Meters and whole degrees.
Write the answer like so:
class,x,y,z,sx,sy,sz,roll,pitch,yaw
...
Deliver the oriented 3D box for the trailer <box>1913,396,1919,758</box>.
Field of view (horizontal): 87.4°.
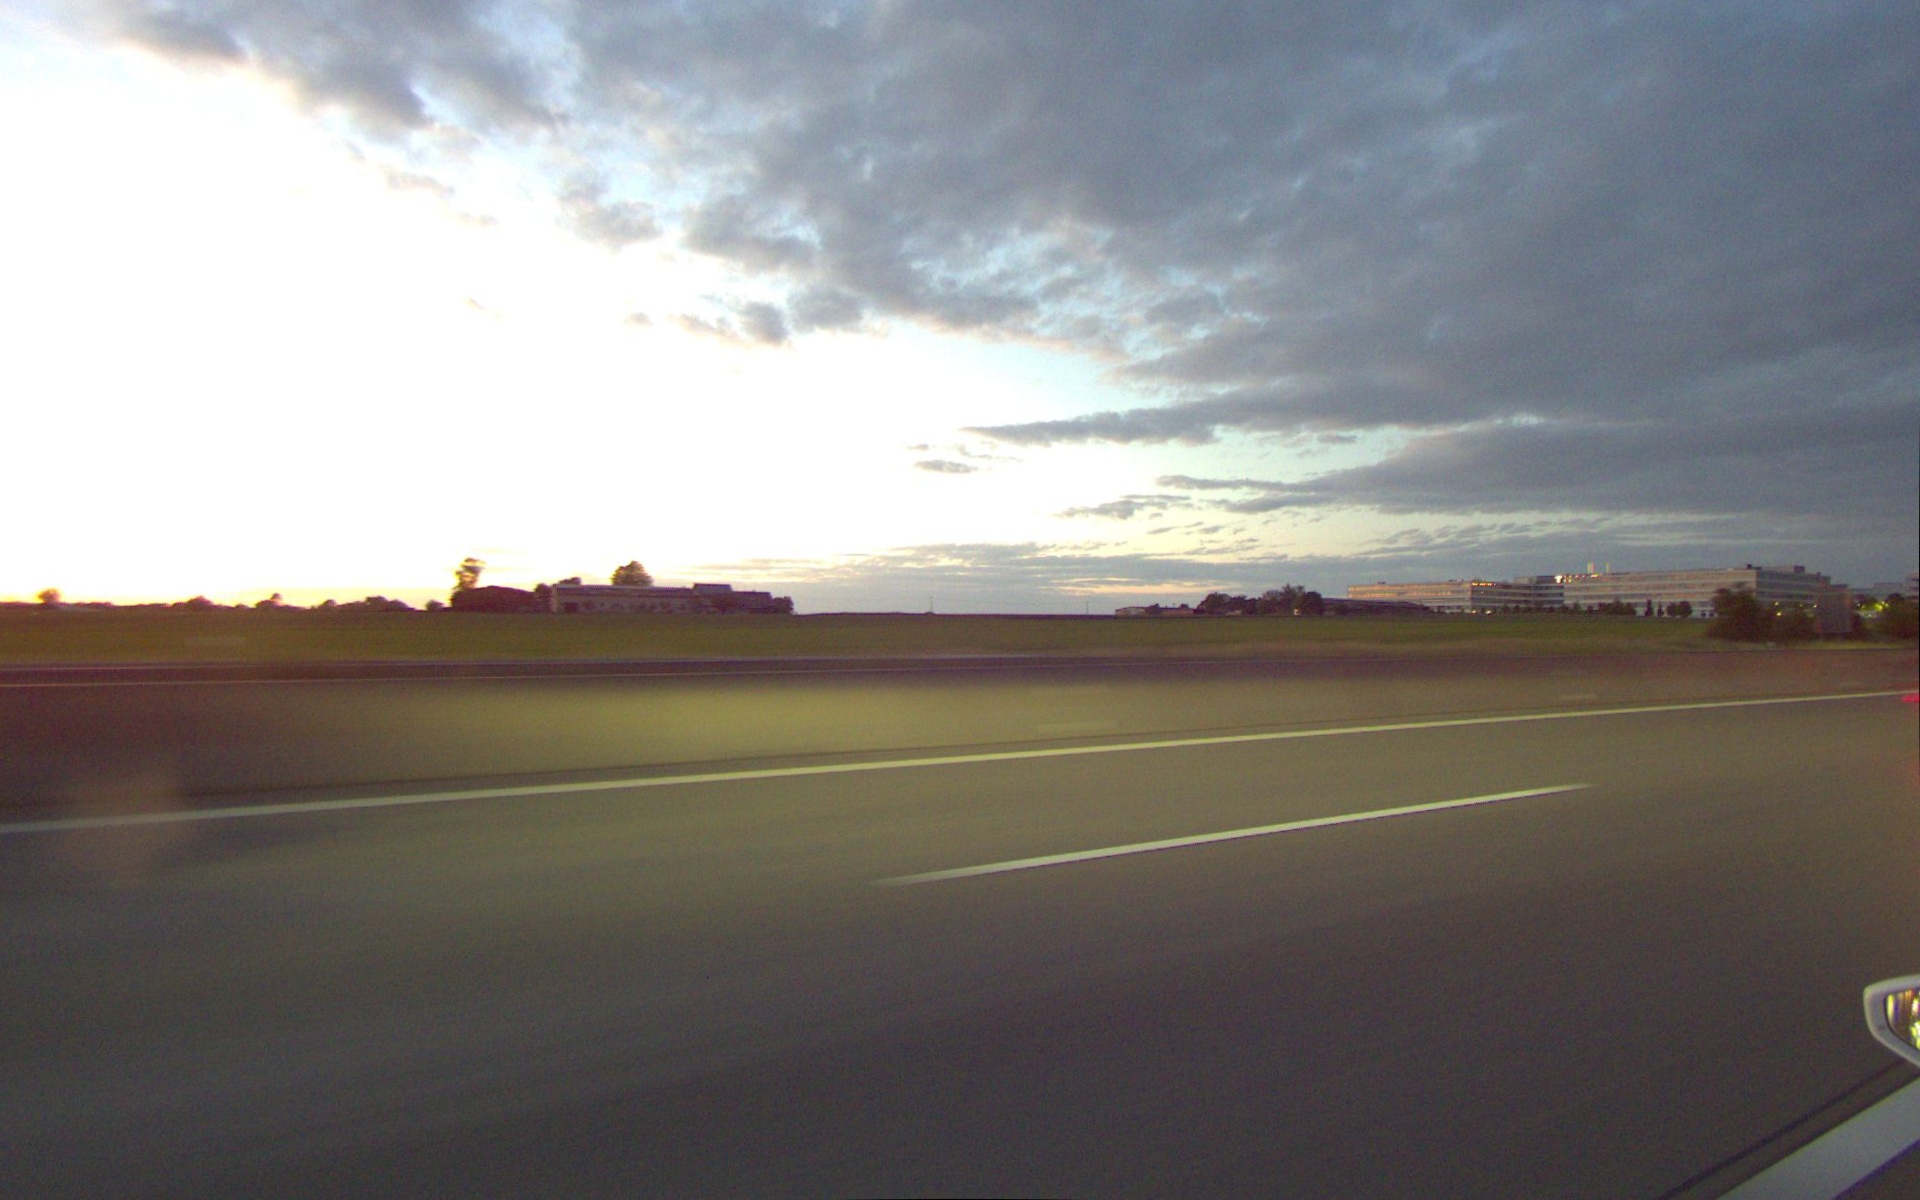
class,x,y,z,sx,sy,sz,roll,pitch,yaw
trailer,17.780,-0.067,14.009,14.358,4.139,2.780,2,-2,-31
